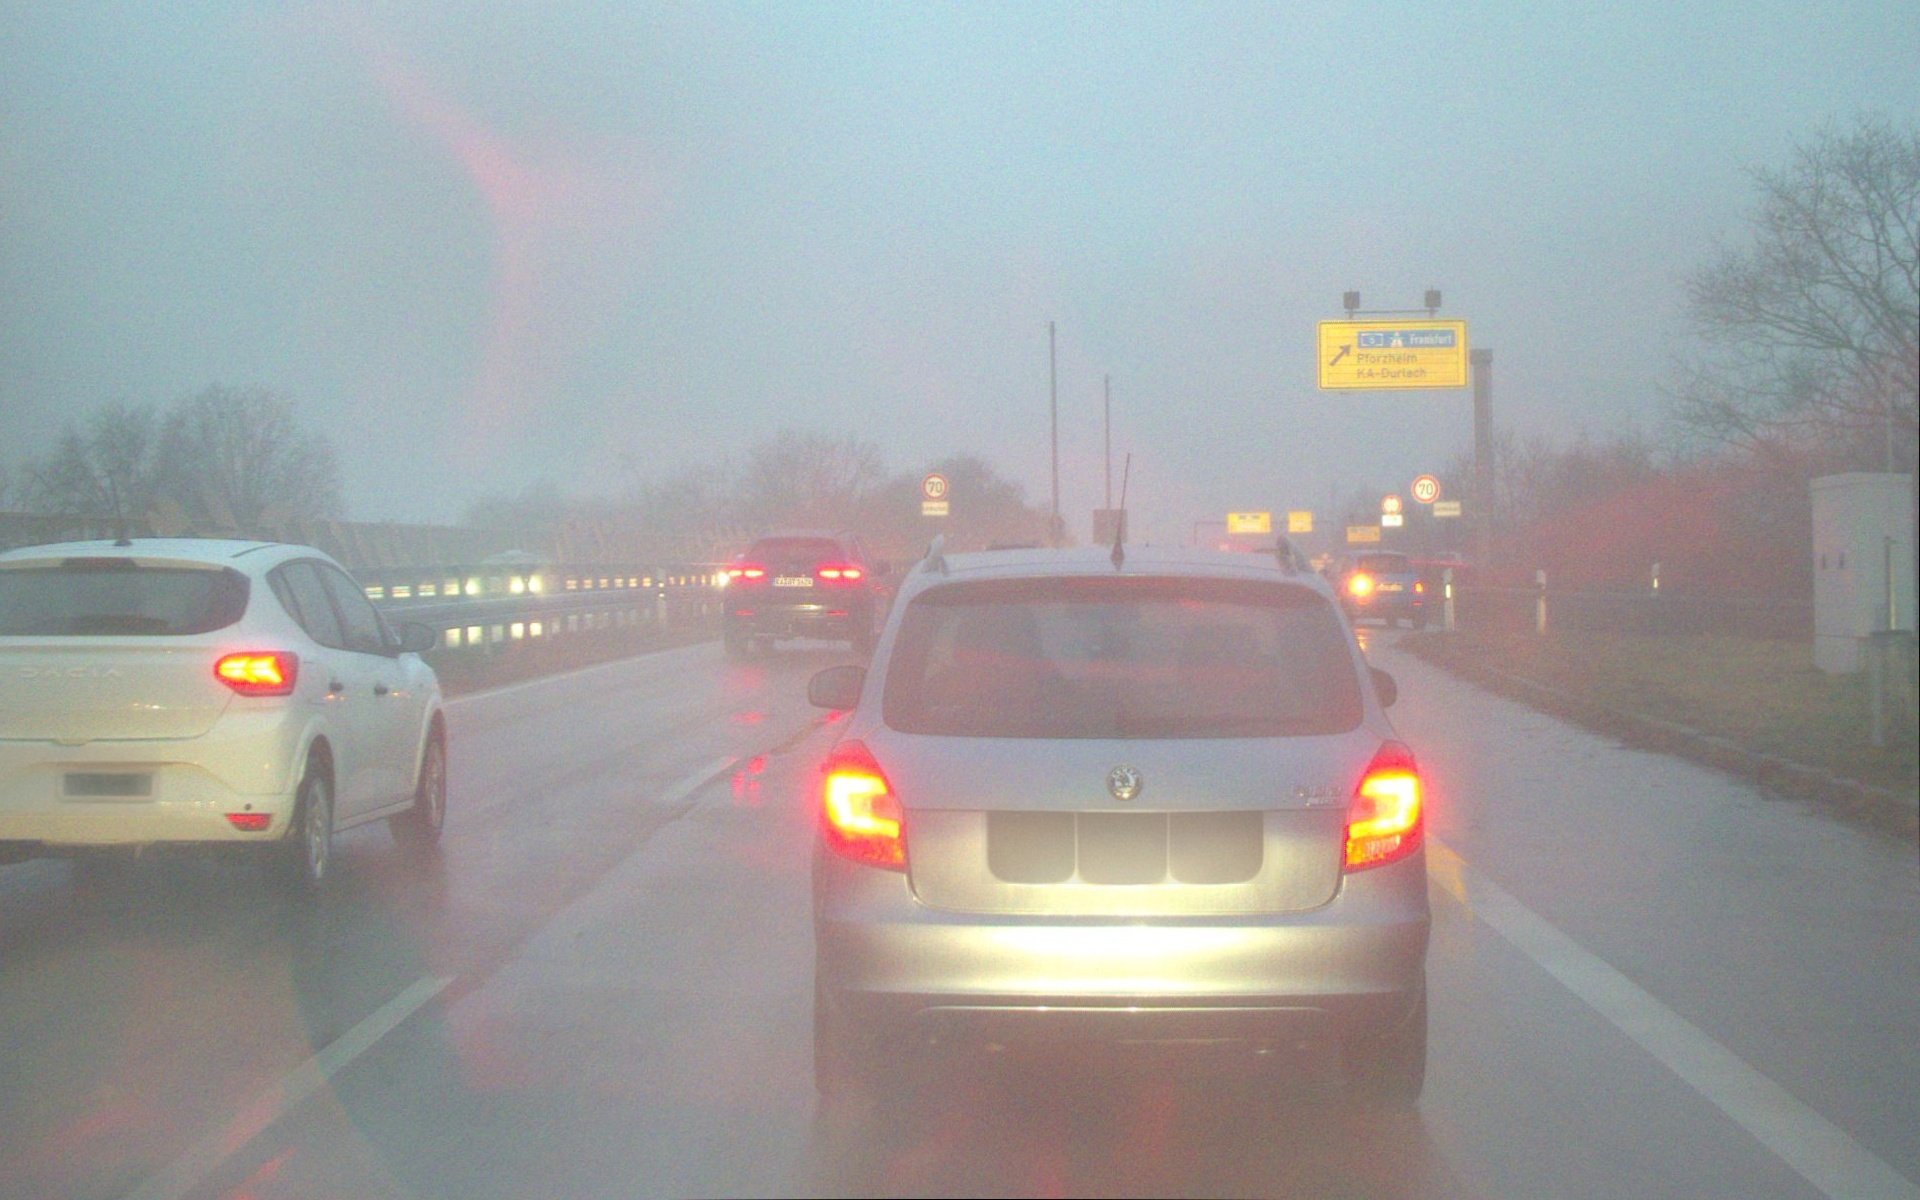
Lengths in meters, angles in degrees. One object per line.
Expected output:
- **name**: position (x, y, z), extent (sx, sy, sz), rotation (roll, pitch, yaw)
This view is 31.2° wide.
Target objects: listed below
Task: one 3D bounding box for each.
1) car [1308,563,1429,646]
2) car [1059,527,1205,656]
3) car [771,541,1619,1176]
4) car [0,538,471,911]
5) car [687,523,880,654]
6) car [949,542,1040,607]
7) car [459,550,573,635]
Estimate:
- **car**: position (7.995, 0.059, 67.603), extent (1.789, 1.540, 4.000), rotation (-1, 1, -1)
- **car**: position (2.512, -0.154, 49.396), extent (1.898, 1.761, 4.308), rotation (0, 1, 6)
- **car**: position (0.635, 0.594, 10.218), extent (1.994, 1.495, 4.137), rotation (-1, 1, 2)
- **car**: position (-3.401, 0.447, 15.404), extent (1.724, 1.435, 4.226), rotation (0, 1, 1)
- **car**: position (-2.259, -0.174, 45.153), extent (1.994, 1.596, 4.308), rotation (1, 1, 4)
- **car**: position (0.871, -0.644, 84.134), extent (1.790, 1.540, 3.999), rotation (0, 1, 7)
- **car**: position (-10.380, -0.207, 80.623), extent (1.993, 1.911, 4.287), rotation (1, 1, 2)
